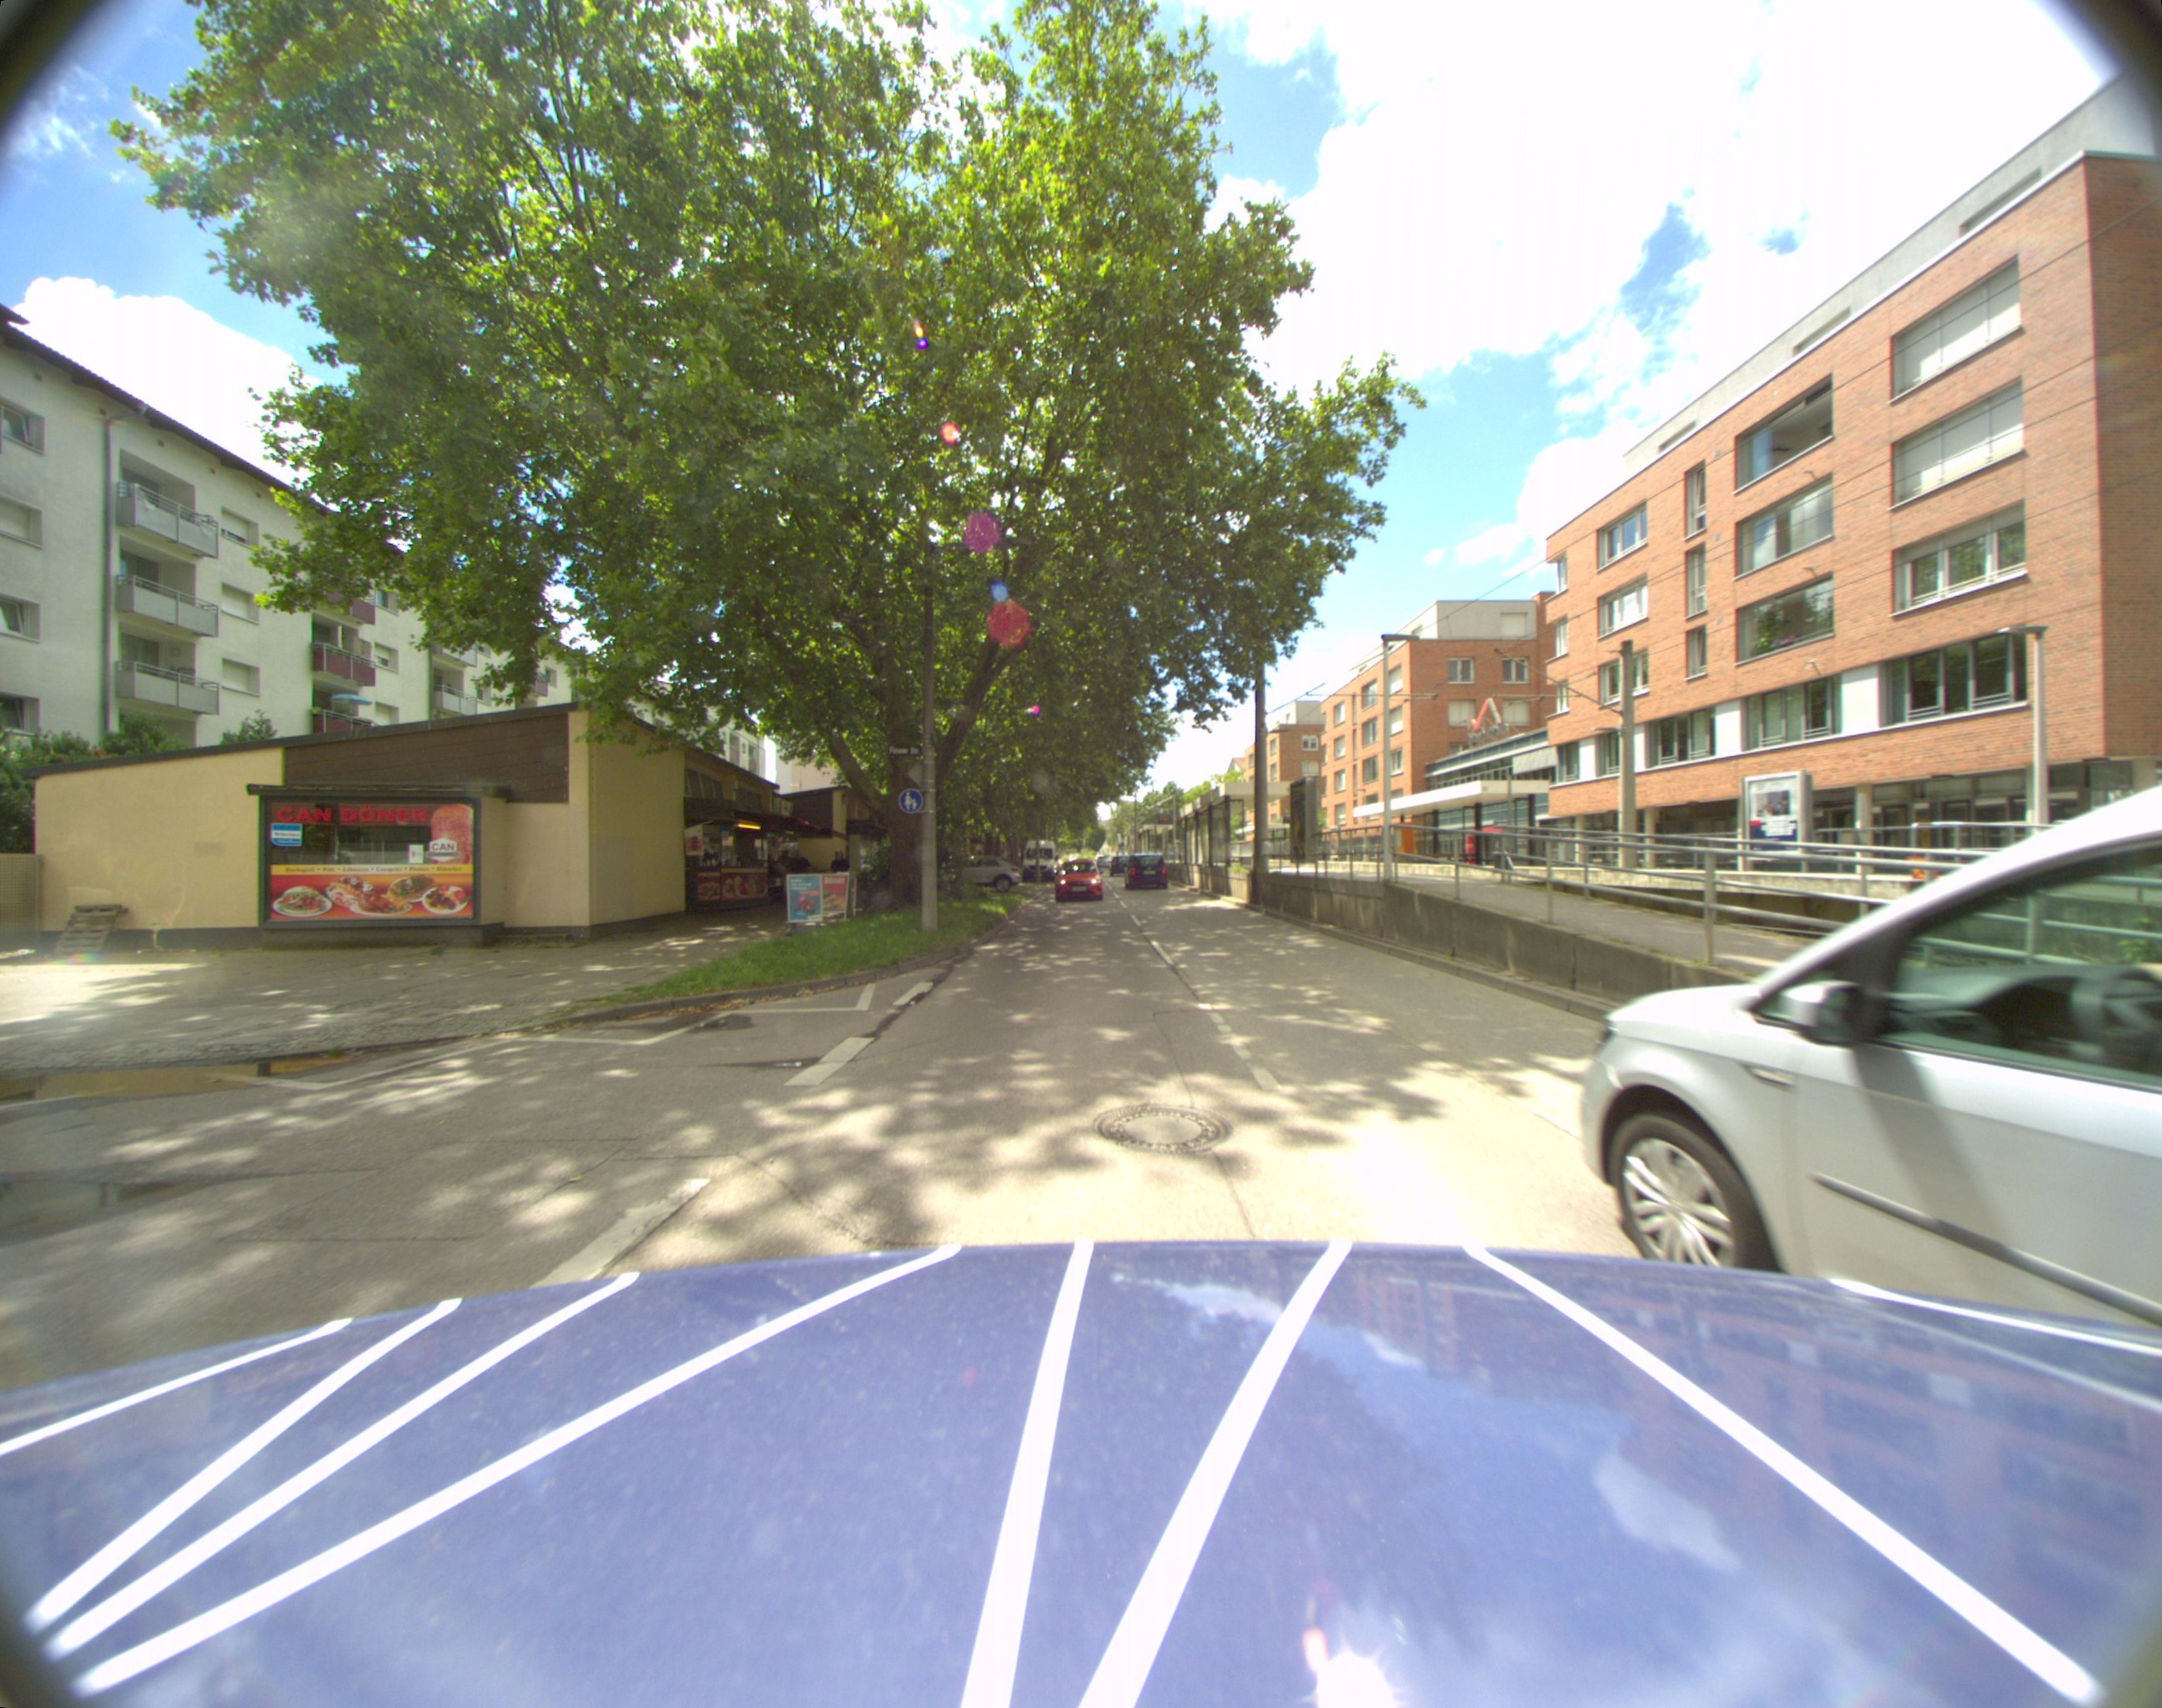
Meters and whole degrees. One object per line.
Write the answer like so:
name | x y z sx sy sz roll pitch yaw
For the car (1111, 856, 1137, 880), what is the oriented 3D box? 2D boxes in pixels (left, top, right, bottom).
car | 3.224 1.021 56.917 1.700 1.555 3.860 -1 1 0

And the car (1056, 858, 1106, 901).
car | 0.012 0.907 28.169 1.712 1.439 3.670 0 0 0

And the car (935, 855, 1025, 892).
car | -4.468 0.857 33.783 3.841 1.553 1.618 1 1 -6

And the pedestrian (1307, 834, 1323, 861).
pedestrian | 14.832 -0.411 48.182 0.753 1.619 0.815 -2 1 0

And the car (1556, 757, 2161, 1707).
car | 2.816 0.709 0.667 1.758 1.830 4.645 -2 0 -1

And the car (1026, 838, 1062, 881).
car | -2.315 0.296 49.275 1.909 2.566 6.833 1 1 0

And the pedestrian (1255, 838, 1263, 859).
pedestrian | 15.121 -0.469 64.549 0.535 1.753 0.528 0 1 -3

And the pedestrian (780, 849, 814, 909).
pedestrian | -8.290 0.728 22.227 0.761 1.715 0.658 1 1 -4

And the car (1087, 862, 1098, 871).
car | 1.980 2.111 128.737 1.736 1.388 3.751 0 0 -1

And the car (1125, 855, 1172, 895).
car | 3.095 0.921 35.428 1.758 1.624 4.118 -2 1 0

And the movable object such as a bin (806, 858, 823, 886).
movable object such as a bin | -10.367 0.699 29.585 0.520 1.062 0.708 0 1 -10

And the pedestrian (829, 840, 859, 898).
pedestrian | -6.975 0.433 22.380 0.625 1.666 0.772 0 1 1

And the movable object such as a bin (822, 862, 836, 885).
movable object such as a bin | -9.839 0.759 29.701 0.438 0.909 0.587 0 1 -9

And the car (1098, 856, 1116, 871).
car | 2.915 1.035 84.590 1.767 1.472 4.576 -2 1 0

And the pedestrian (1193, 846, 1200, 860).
pedestrian | 15.232 -0.131 100.440 0.745 1.814 0.828 0 0 -1
